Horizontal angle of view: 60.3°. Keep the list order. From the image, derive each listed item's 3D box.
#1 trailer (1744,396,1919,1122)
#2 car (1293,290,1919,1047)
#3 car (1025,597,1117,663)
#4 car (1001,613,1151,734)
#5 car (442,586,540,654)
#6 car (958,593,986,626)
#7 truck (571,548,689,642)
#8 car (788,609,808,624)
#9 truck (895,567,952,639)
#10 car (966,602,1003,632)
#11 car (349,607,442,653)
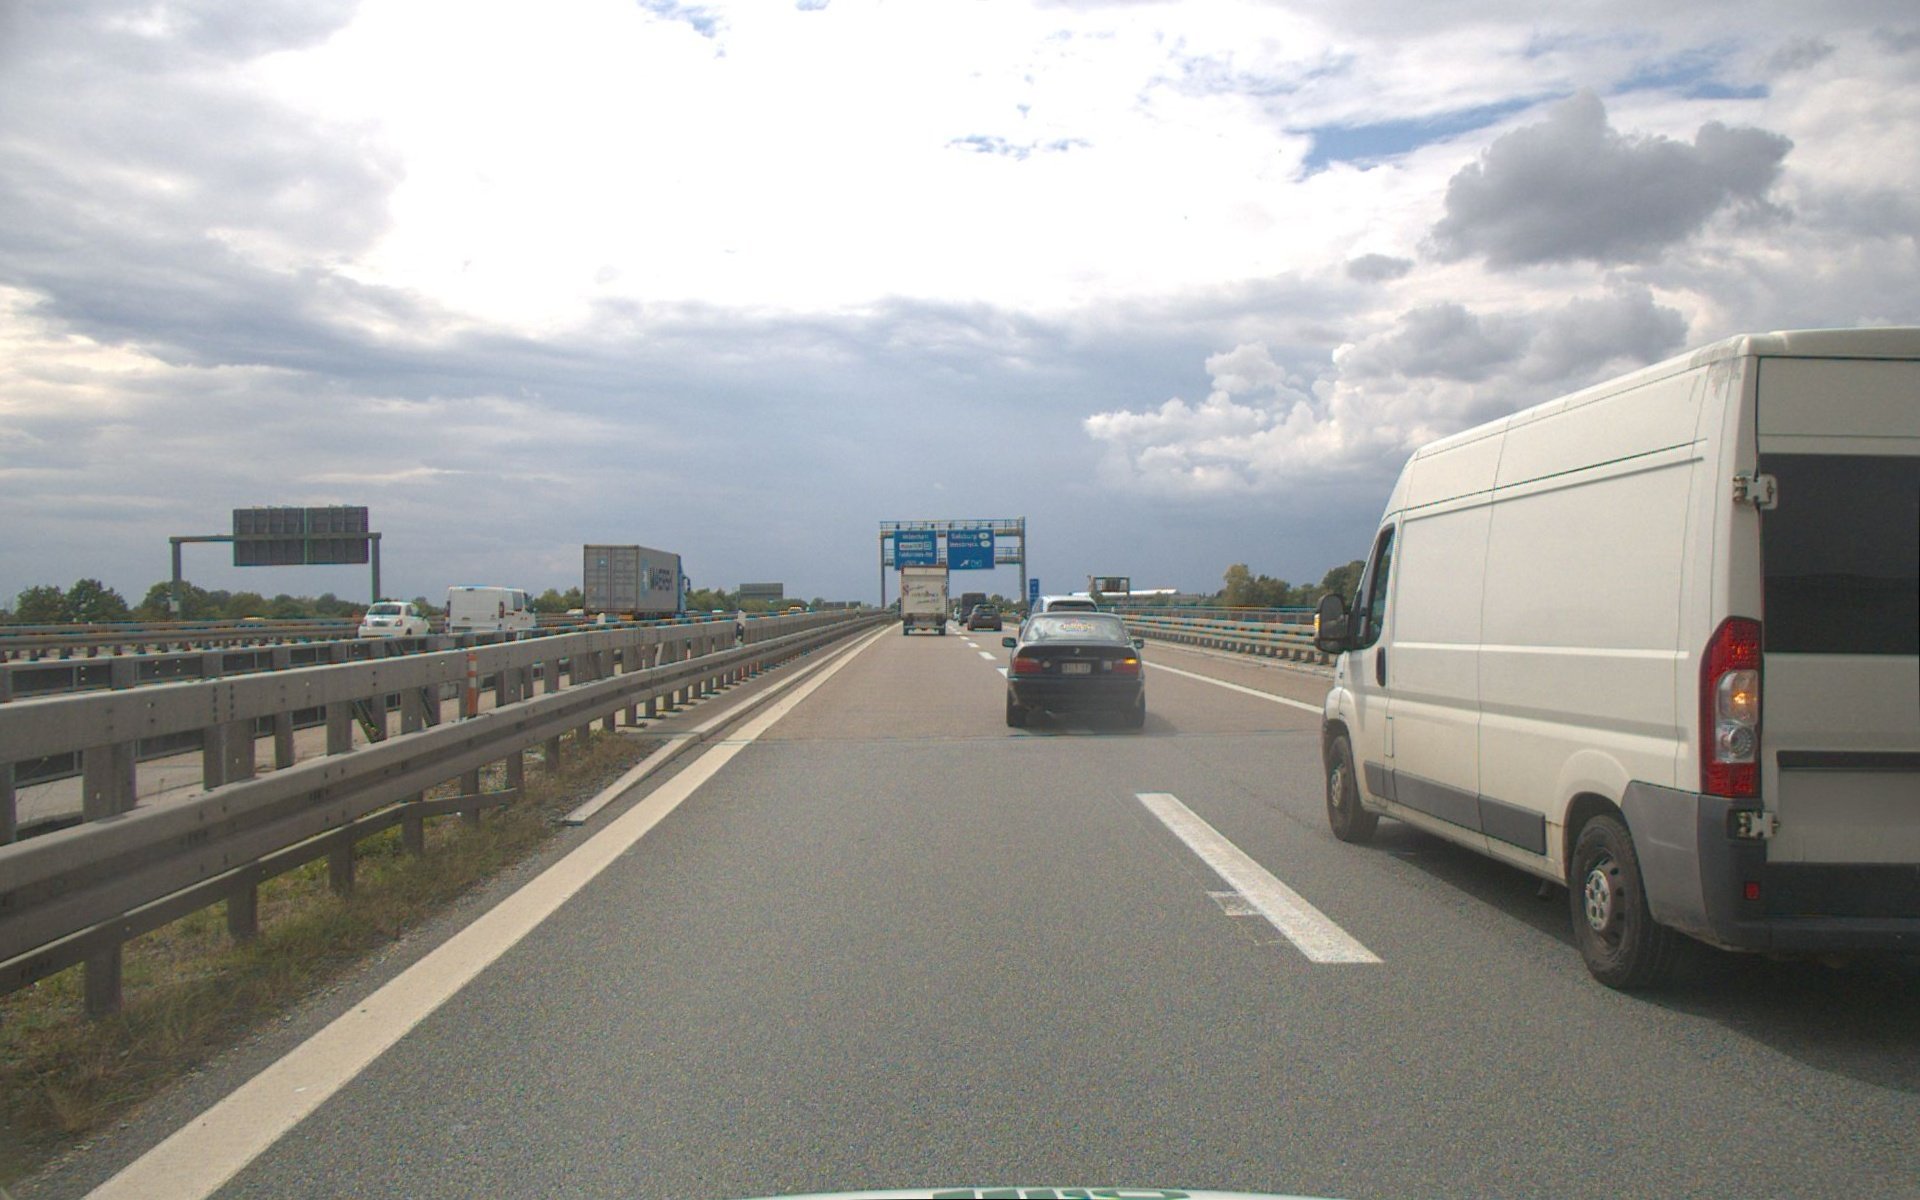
[{"bbox_3d":[3.668,0.456,3.362,1.817,2.049,4.629,0,0,-2],"label":"trailer"},{"bbox_3d":[3.476,0.229,8.575,2.071,2.497,6.149,0,0,-2],"label":"car"},{"bbox_3d":[2.681,0.694,40.762,1.783,1.541,3.998,0,0,-3],"label":"car"},{"bbox_3d":[1.439,0.838,20.734,1.668,1.303,4.368,0,0,4],"label":"car"},{"bbox_3d":[-14.779,0.611,52.352,1.953,2.049,4.373,0,0,-1],"label":"car"},{"bbox_3d":[0.845,0.679,118.482,1.868,2.301,4.647,0,0,-2],"label":"car"},{"bbox_3d":[-15.737,-0.227,80.268,3.119,4.089,16.066,0,0,-2],"label":"truck"},{"bbox_3d":[-17.253,1.742,175.976,1.790,1.590,4.000,0,0,0],"label":"car"},{"bbox_3d":[-1.756,0.241,78.081,2.517,3.181,8.630,0,-1,-2],"label":"truck"},{"bbox_3d":[1.330,0.900,90.252,1.847,1.579,3.999,0,0,-2],"label":"car"},{"bbox_3d":[-19.025,0.990,55.915,1.761,1.444,4.000,0,0,0],"label":"car"}]
